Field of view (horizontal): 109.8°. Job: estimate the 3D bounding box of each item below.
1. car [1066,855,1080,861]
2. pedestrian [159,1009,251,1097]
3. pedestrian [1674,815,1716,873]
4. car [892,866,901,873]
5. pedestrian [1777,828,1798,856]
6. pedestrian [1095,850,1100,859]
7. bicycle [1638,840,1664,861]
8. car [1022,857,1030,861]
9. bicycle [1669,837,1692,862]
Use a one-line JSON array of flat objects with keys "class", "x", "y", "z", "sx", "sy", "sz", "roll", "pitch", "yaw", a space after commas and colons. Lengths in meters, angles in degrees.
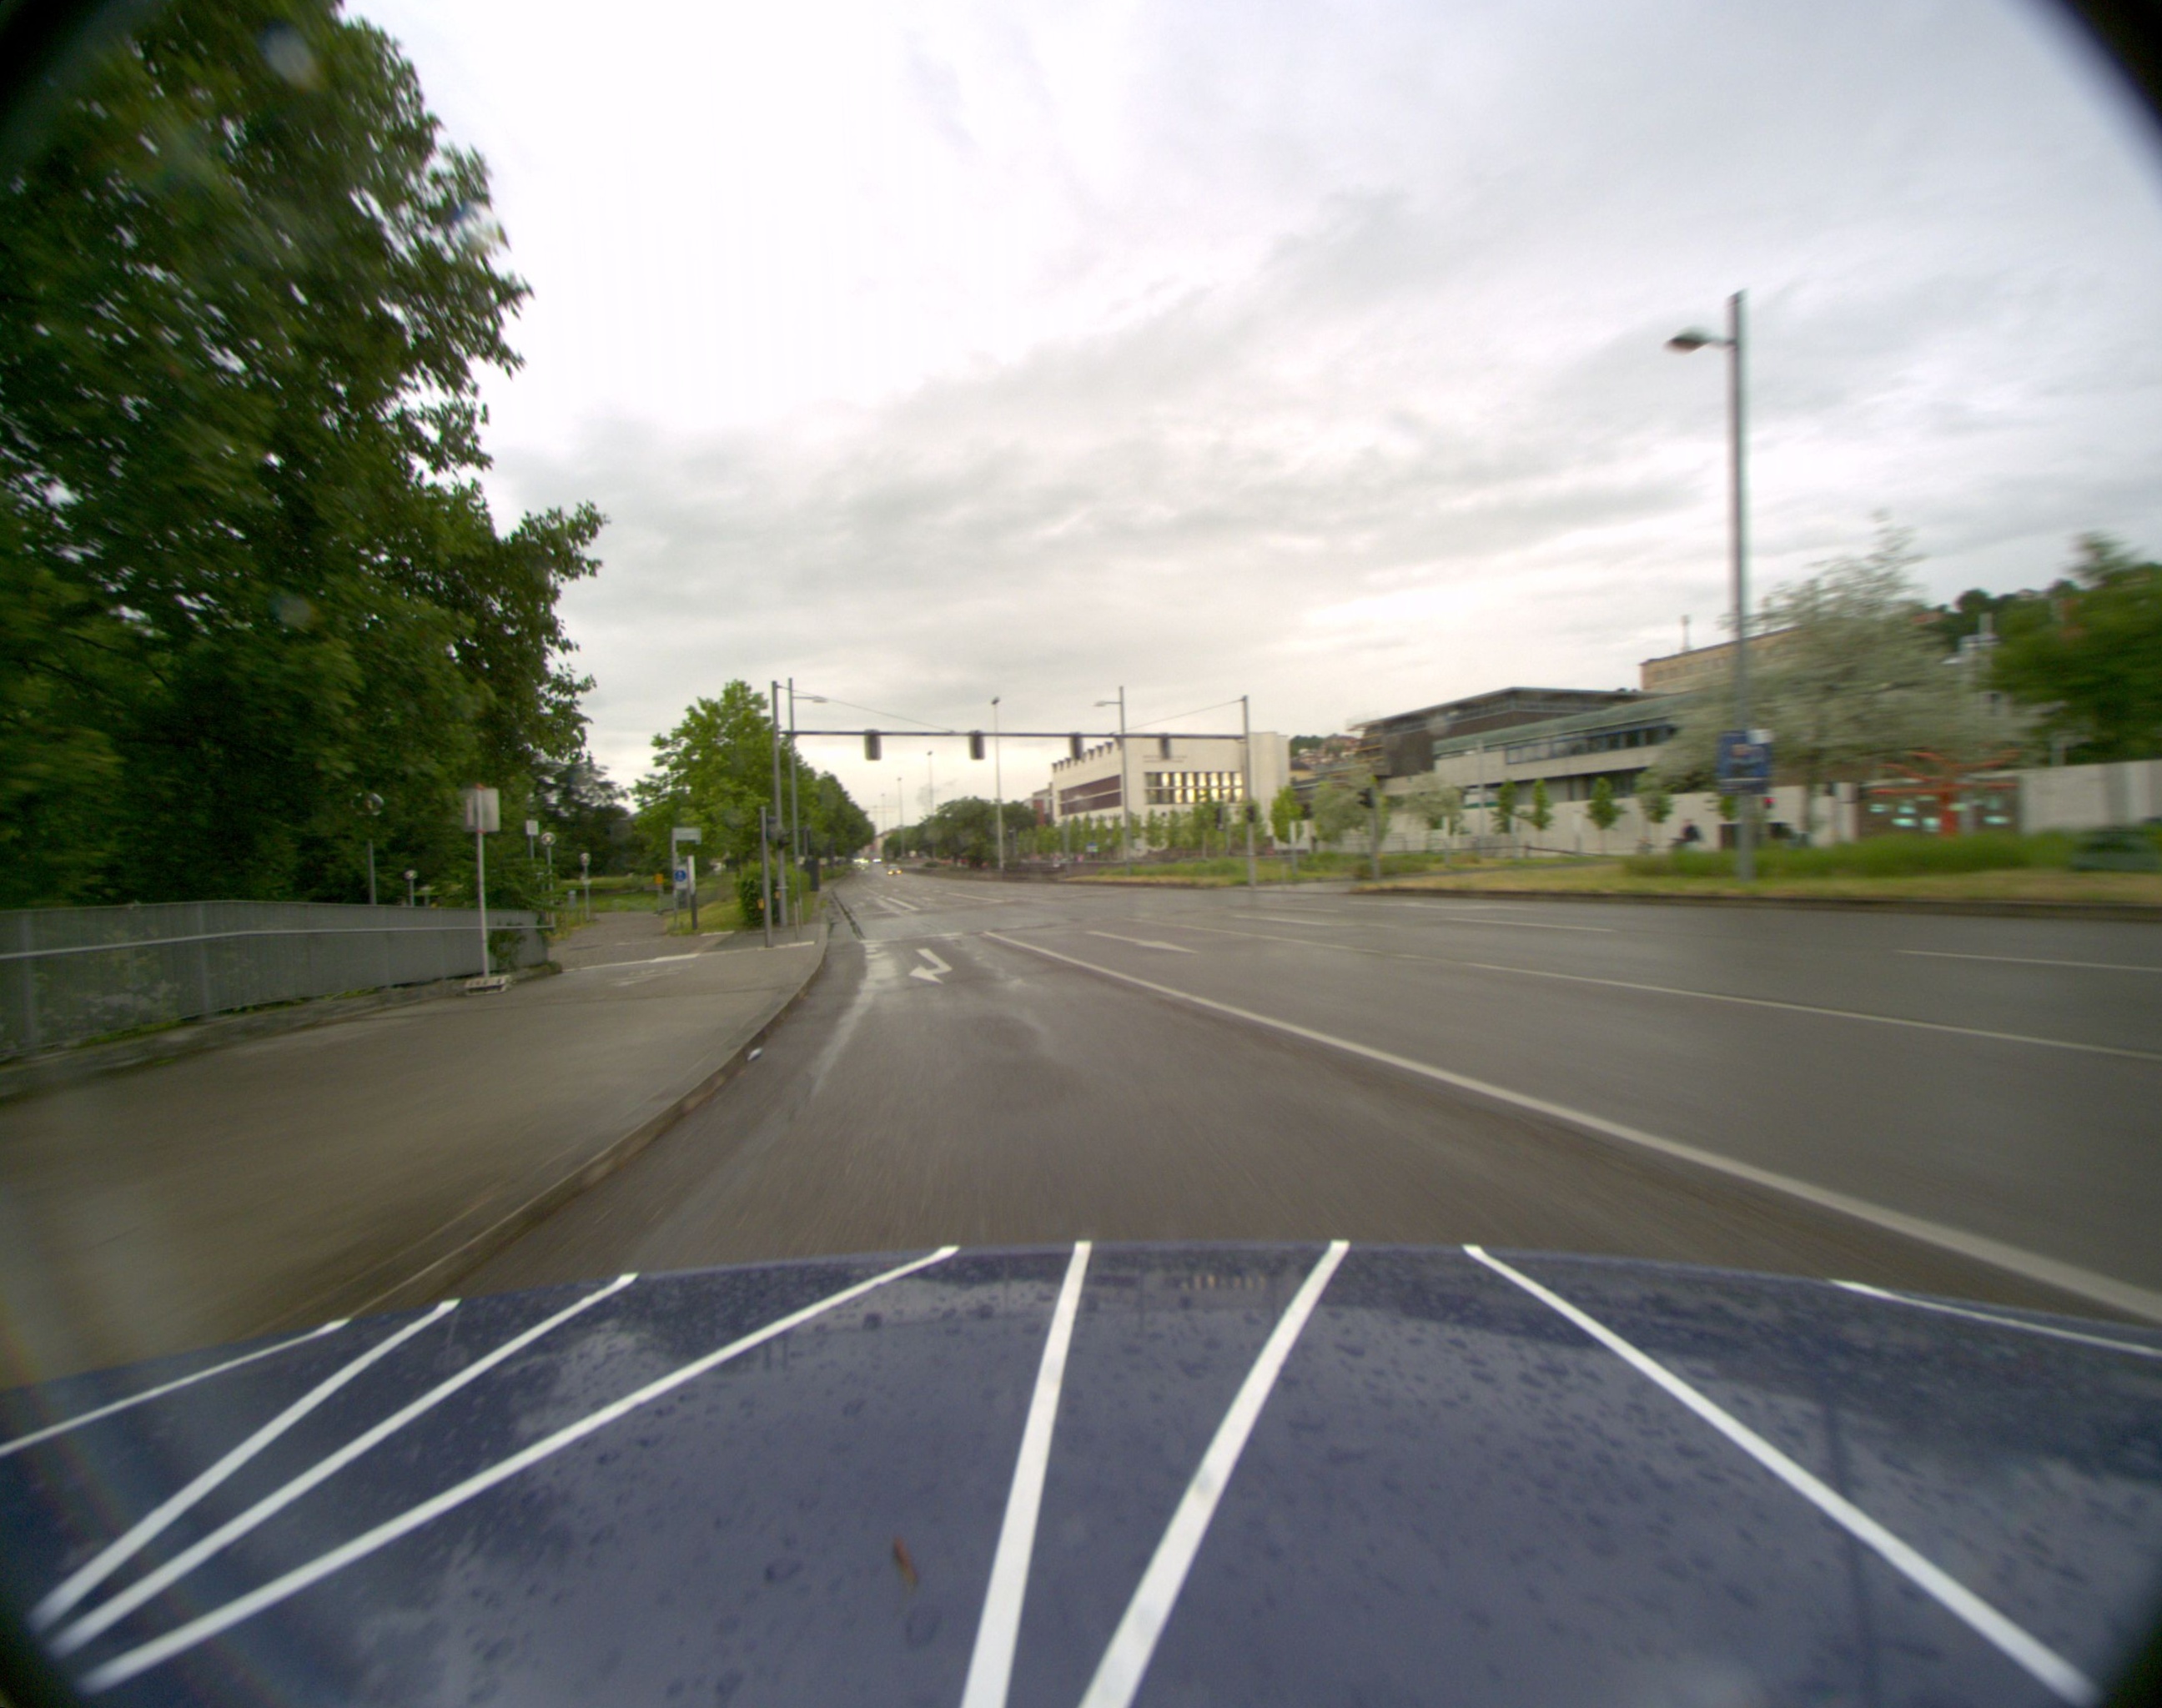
[{"class": "car", "x": -1.485, "y": 0.724, "z": 136.888, "sx": 1.446, "sy": 1.108, "sz": 3.015, "roll": -4, "pitch": 2, "yaw": -21}, {"class": "pedestrian", "x": -21.858, "y": 4.939, "z": 18.990, "sx": 0.948, "sy": 1.841, "sz": 1.026, "roll": -4, "pitch": 2, "yaw": -13}, {"class": "pedestrian", "x": 23.299, "y": -0.374, "z": 28.845, "sx": 0.769, "sy": 2.078, "sz": 0.726, "roll": -5, "pitch": -4, "yaw": -12}, {"class": "car", "x": -32.752, "y": 2.741, "z": 134.734, "sx": 1.519, "sy": 1.138, "sz": 2.757, "roll": -4, "pitch": 2, "yaw": -14}, {"class": "pedestrian", "x": 35.390, "y": -0.596, "z": 38.066, "sx": 0.468, "sy": 1.375, "sz": 0.577, "roll": -3, "pitch": 2, "yaw": 3}, {"class": "pedestrian", "x": 3.505, "y": 0.073, "z": 164.147, "sx": 0.739, "sy": 1.848, "sz": 0.703, "roll": -2, "pitch": 2, "yaw": 25}, {"class": "bicycle", "x": 34.569, "y": -0.216, "z": 46.077, "sx": 1.705, "sy": 1.155, "sz": 0.529, "roll": -4, "pitch": 2, "yaw": -26}, {"class": "car", "x": -11.067, "y": 0.928, "z": 153.591, "sx": 0.822, "sy": 0.741, "sz": 2.549, "roll": -4, "pitch": 2, "yaw": -21}, {"class": "bicycle", "x": 34.778, "y": -0.262, "z": 44.085, "sx": 1.483, "sy": 1.300, "sz": 0.556, "roll": -5, "pitch": 2, "yaw": -32}]
